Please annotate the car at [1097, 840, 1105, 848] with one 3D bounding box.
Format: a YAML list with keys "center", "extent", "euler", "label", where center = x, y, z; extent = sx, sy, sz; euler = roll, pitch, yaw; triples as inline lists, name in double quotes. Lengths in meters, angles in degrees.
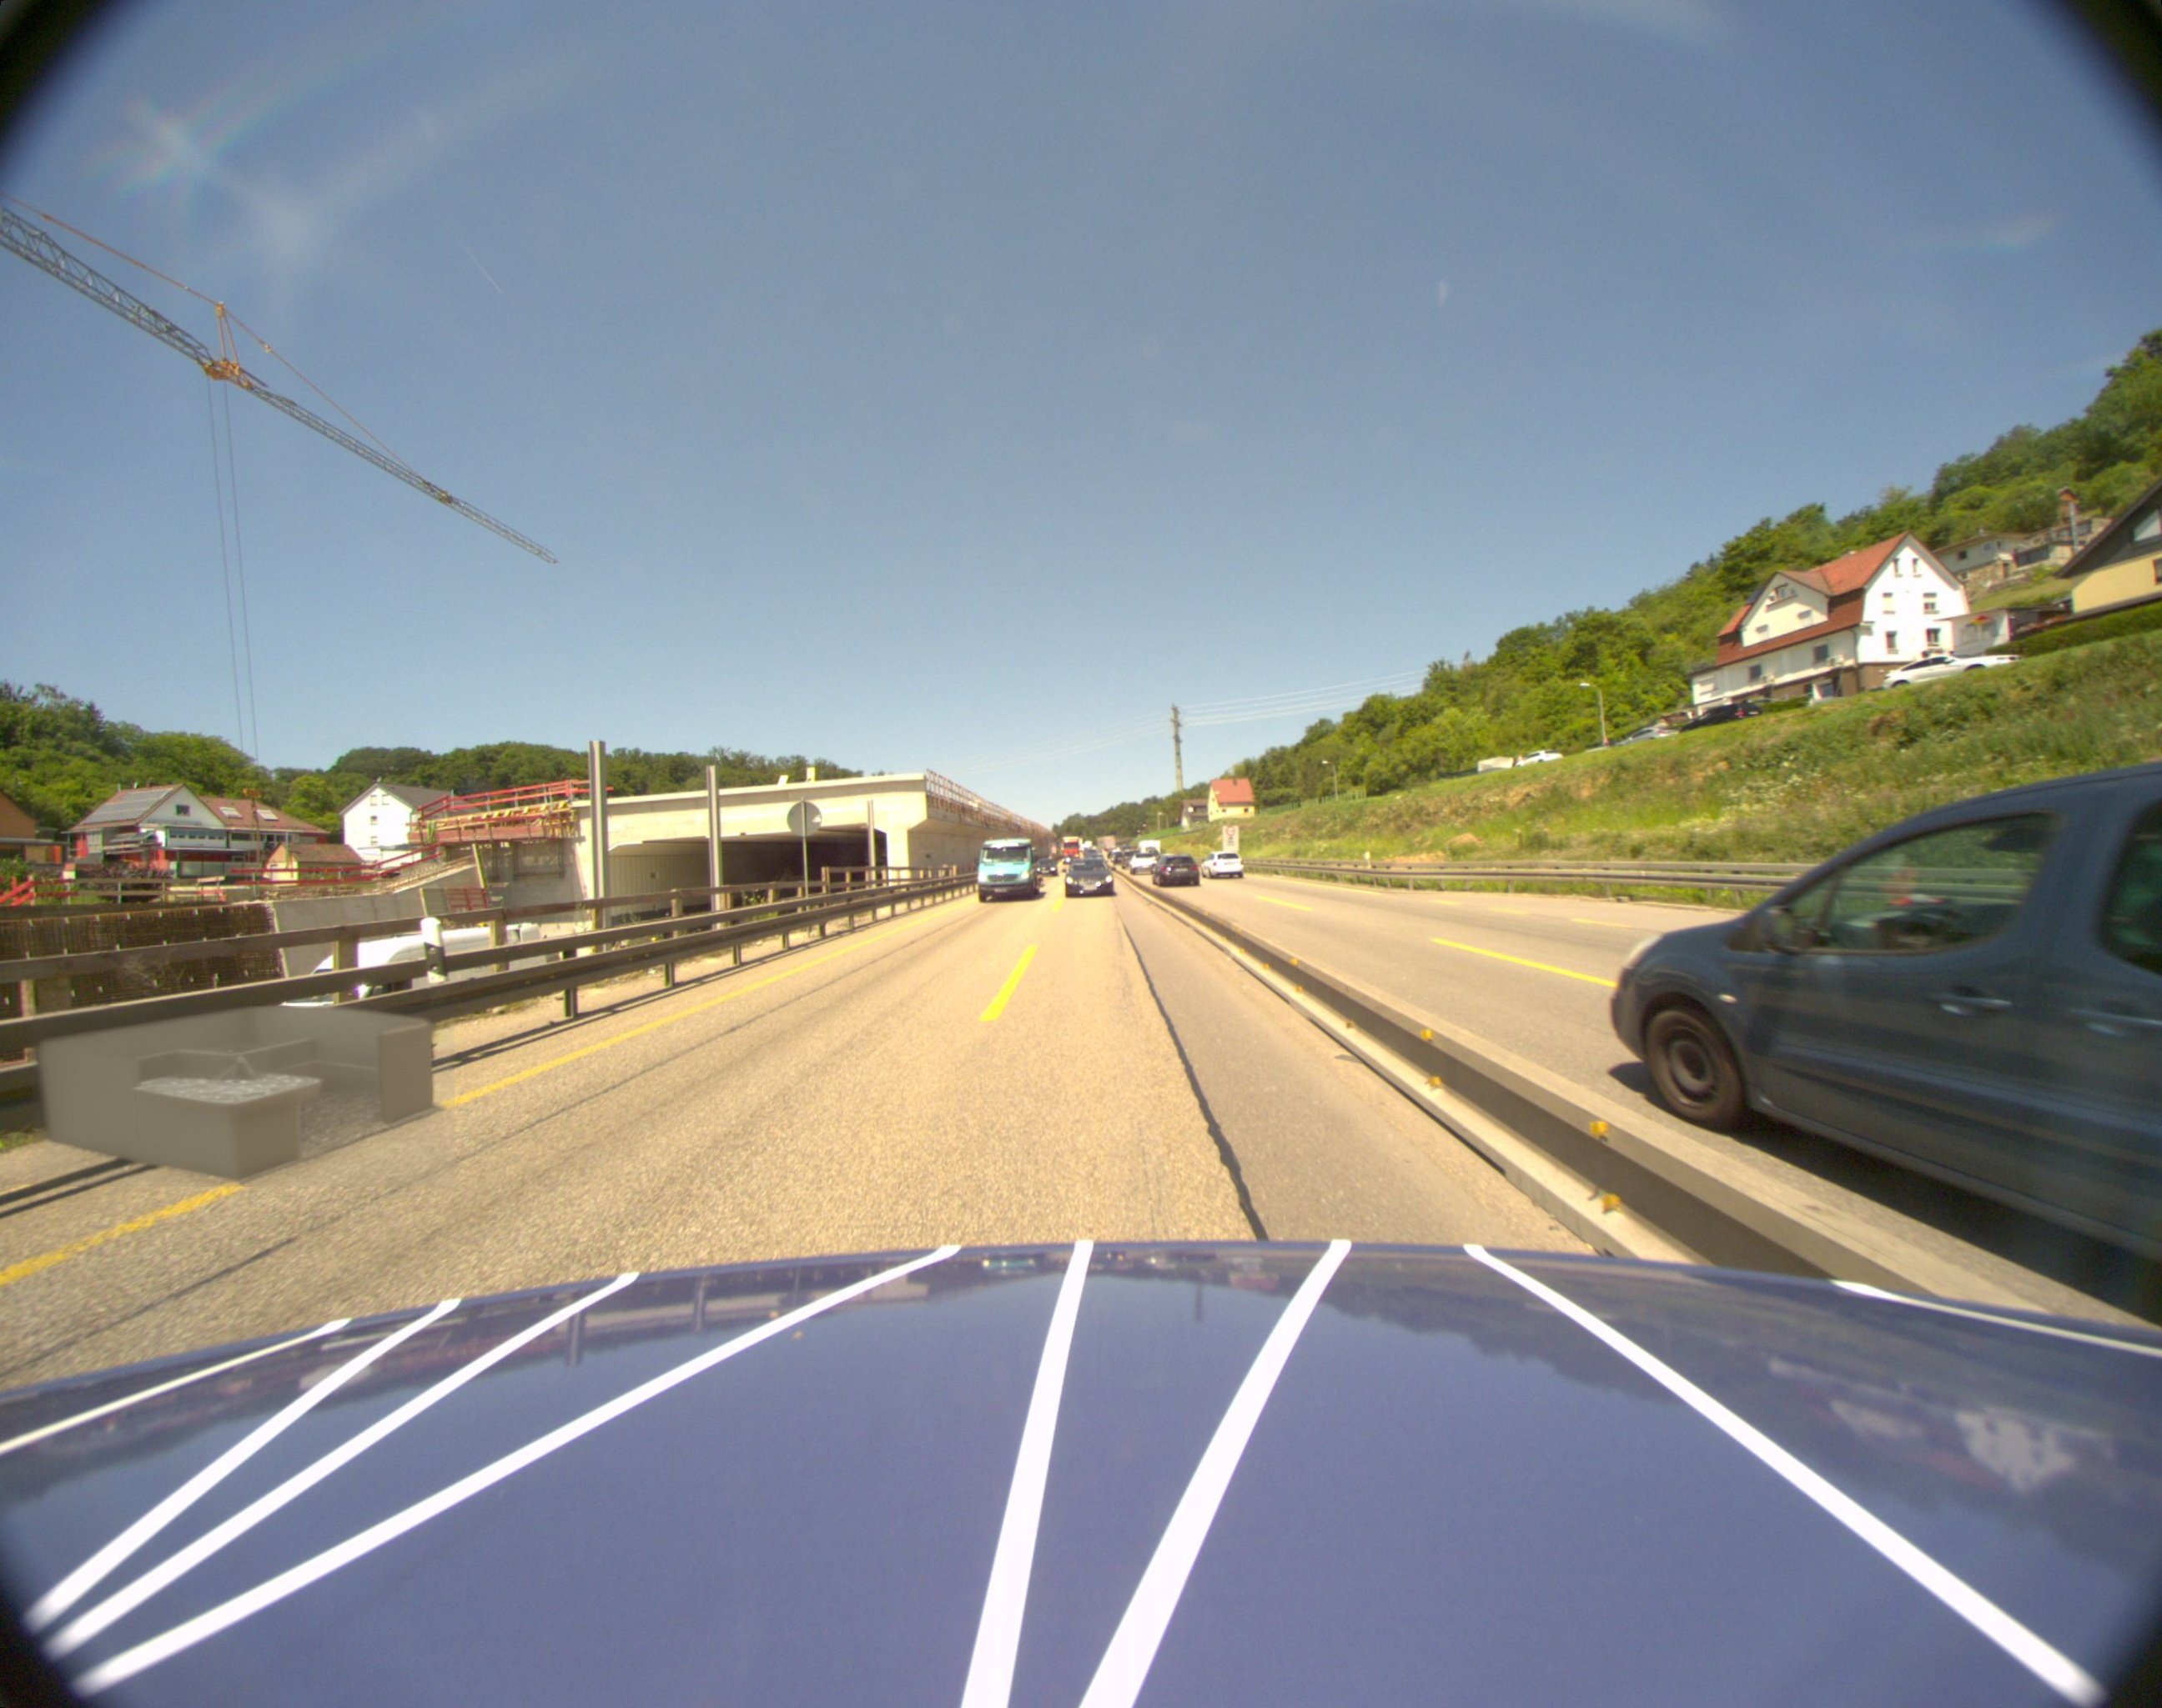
- center: [5.694, -2.904, 214.651]
  extent: [1.998, 2.002, 3.999]
  euler: [-2, 2, 0]
  label: "car"

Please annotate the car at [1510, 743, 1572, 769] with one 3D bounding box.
- center: [38.491, -8.177, 63.756]
  extent: [2.000, 1.646, 4.548]
  euler: [-2, 2, -9]
  label: "car"

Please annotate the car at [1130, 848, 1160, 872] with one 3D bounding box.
- center: [4.683, 0.435, 56.109]
  extent: [1.811, 1.630, 4.172]
  euler: [-2, 0, 0]
  label: "car"

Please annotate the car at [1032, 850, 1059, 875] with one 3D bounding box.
- center: [-2.779, 0.620, 60.709]
  extent: [1.885, 1.805, 4.249]
  euler: [-2, 2, 1]
  label: "car"

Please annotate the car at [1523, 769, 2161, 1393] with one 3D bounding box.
- center: [3.971, 0.616, 2.795]
  extent: [1.850, 1.767, 4.881]
  euler: [-2, 0, 0]
  label: "car"

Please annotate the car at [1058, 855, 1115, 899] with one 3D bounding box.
- center: [0.259, 0.833, 29.829]
  extent: [1.998, 1.441, 4.601]
  euler: [-2, 1, 1]
  label: "car"

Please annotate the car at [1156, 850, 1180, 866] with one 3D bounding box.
- center: [8.305, 0.345, 72.937]
  extent: [1.814, 1.423, 4.555]
  euler: [-3, 0, 1]
  label: "car"

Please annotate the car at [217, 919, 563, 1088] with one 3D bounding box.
- center: [-17.413, 3.568, 20.006]
  extent: [2.149, 2.840, 7.023]
  euler: [-2, 2, 4]
  label: "car"

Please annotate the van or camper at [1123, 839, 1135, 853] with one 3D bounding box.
- center: [9.718, -1.610, 154.281]
  extent: [2.145, 2.558, 6.564]
  euler: [-3, 0, 1]
  label: "van or camper"

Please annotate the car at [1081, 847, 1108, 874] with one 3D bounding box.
- center: [1.045, 0.473, 57.477]
  extent: [1.884, 1.805, 4.250]
  euler: [-2, 2, 3]
  label: "car"

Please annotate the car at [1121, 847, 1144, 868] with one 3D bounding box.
- center: [5.185, 0.306, 77.012]
  extent: [1.915, 2.002, 4.905]
  euler: [-2, 1, 0]
  label: "car"

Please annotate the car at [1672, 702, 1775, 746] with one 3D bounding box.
- center: [40.603, -8.198, 48.189]
  extent: [2.077, 1.997, 4.970]
  euler: [-2, 2, -4]
  label: "car"

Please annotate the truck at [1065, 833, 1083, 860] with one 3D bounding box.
- center: [-1.060, -1.344, 129.579]
  extent: [2.750, 4.222, 9.093]
  euler: [-2, 2, 1]
  label: "truck"

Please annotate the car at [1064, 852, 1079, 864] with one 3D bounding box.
- center: [-1.330, 0.606, 107.995]
  extent: [1.883, 1.532, 4.280]
  euler: [-2, 1, 1]
  label: "car"

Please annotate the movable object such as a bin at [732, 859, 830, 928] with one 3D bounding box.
- center: [-20.756, 2.588, 53.319]
  extent: [2.961, 4.040, 9.153]
  euler: [-2, 2, 1]
  label: "movable object such as a bin"

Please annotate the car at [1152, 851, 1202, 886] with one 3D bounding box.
- center: [4.356, 0.614, 35.037]
  extent: [1.802, 1.458, 4.355]
  euler: [-1, 0, 1]
  label: "car"

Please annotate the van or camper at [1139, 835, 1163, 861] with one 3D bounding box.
- center: [8.821, -0.740, 96.535]
  extent: [2.297, 3.048, 6.923]
  euler: [-2, 0, 1]
  label: "van or camper"

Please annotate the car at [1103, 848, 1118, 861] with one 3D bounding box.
- center: [4.349, 0.005, 112.792]
  extent: [1.842, 1.817, 5.040]
  euler: [-2, 0, 0]
  label: "car"

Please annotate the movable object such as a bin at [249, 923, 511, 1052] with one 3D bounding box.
- center: [-20.159, 3.707, 22.348]
  extent: [2.149, 2.661, 5.500]
  euler: [-2, 2, 5]
  label: "movable object such as a bin"

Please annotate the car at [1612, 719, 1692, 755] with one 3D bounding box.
- center: [39.935, -8.166, 53.287]
  extent: [1.999, 1.861, 4.427]
  euler: [-2, 2, -5]
  label: "car"

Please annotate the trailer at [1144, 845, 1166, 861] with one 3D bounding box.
- center: [8.829, -0.132, 90.632]
  extent: [2.106, 1.883, 5.141]
  euler: [-2, 0, 1]
  label: "trailer"

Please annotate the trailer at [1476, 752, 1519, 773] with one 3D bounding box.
- center: [37.747, -8.272, 68.946]
  extent: [1.908, 1.507, 3.034]
  euler: [-3, 2, -10]
  label: "trailer"

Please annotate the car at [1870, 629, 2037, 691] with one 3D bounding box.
- center: [41.528, -9.193, 36.398]
  extent: [1.999, 1.784, 5.008]
  euler: [-2, 1, -6]
  label: "car"

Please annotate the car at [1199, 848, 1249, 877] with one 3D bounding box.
- center: [7.735, 0.426, 41.528]
  extent: [1.808, 1.488, 4.599]
  euler: [-2, 0, 0]
  label: "car"

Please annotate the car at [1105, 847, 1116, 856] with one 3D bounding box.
- center: [5.492, -0.511, 140.360]
  extent: [1.847, 1.467, 4.834]
  euler: [-2, 0, 1]
  label: "car"

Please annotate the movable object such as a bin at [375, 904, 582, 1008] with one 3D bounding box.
- center: [-25.071, 4.230, 31.644]
  extent: [7.141, 2.883, 3.503]
  euler: [-11, -2, 23]
  label: "movable object such as a bin"

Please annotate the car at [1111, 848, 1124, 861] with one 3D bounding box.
- center: [4.447, 0.067, 93.278]
  extent: [1.487, 1.496, 2.805]
  euler: [-2, 0, 1]
  label: "car"

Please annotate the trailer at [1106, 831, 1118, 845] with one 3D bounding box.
- center: [9.069, -4.760, 222.220]
  extent: [2.937, 3.966, 8.704]
  euler: [-2, 1, -1]
  label: "trailer"

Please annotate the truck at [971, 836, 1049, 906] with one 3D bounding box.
- center: [-2.645, 0.513, 30.335]
  extent: [2.139, 2.344, 7.431]
  euler: [-2, 1, 1]
  label: "truck"
